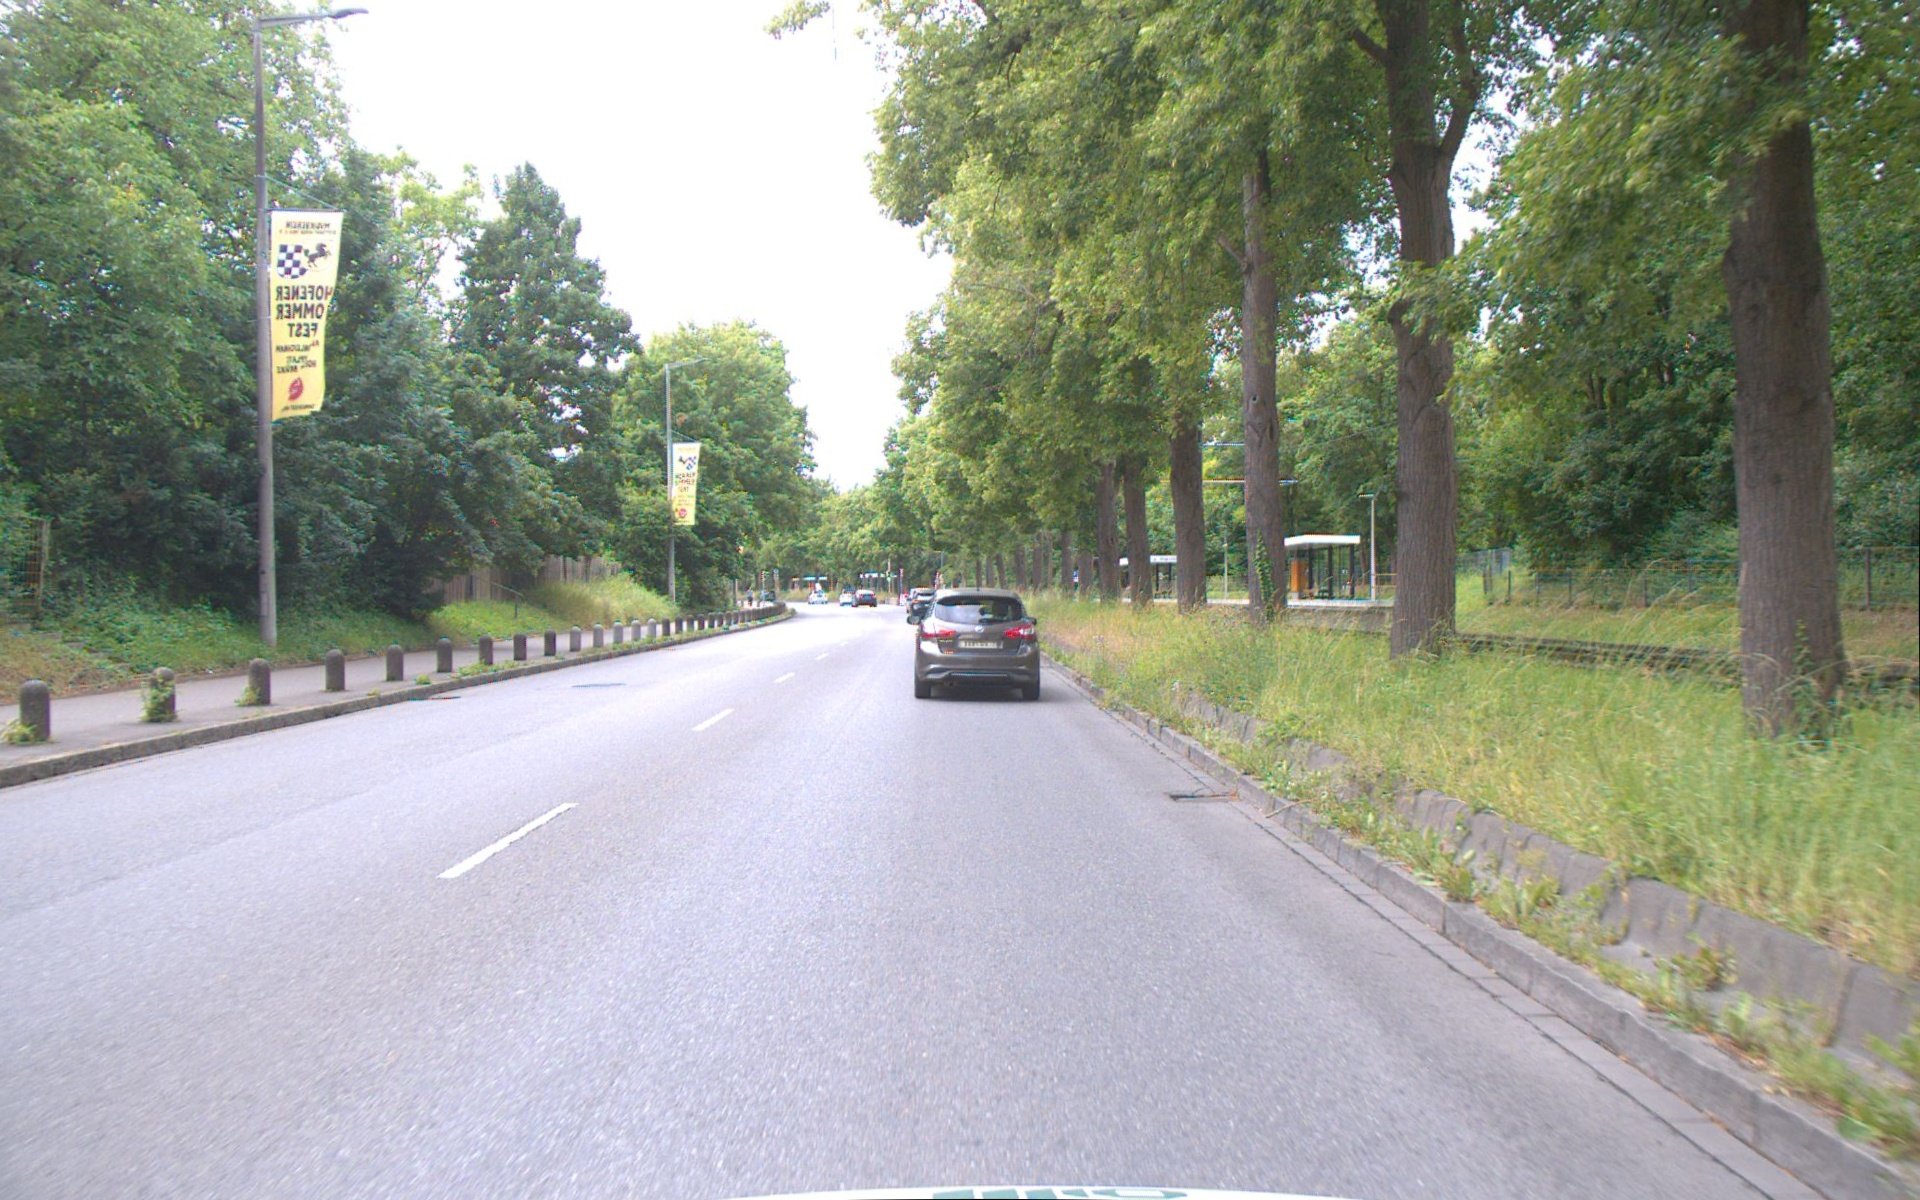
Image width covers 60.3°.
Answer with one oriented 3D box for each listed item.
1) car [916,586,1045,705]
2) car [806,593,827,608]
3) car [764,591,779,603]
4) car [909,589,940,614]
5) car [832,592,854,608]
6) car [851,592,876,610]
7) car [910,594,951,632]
[{"bbox_3d":[0.229,0.590,23.860,1.695,1.564,3.550,1,0,-2],"label":"car"},{"bbox_3d":[-15.265,0.034,175.681,1.536,1.466,3.537,1,0,-15],"label":"car"},{"bbox_3d":[-23.884,-0.340,209.607,1.533,1.466,3.542,1,0,-11],"label":"car"},{"bbox_3d":[-2.149,0.078,99.449,1.532,1.466,3.546,1,0,-7],"label":"car"},{"bbox_3d":[-10.859,-0.006,153.738,1.534,1.466,3.541,1,0,-12],"label":"car"},{"bbox_3d":[-8.104,0.070,138.656,1.534,1.466,3.541,1,0,-12],"label":"car"},{"bbox_3d":[-1.309,0.548,72.184,1.695,1.564,3.550,1,0,-2],"label":"car"}]
